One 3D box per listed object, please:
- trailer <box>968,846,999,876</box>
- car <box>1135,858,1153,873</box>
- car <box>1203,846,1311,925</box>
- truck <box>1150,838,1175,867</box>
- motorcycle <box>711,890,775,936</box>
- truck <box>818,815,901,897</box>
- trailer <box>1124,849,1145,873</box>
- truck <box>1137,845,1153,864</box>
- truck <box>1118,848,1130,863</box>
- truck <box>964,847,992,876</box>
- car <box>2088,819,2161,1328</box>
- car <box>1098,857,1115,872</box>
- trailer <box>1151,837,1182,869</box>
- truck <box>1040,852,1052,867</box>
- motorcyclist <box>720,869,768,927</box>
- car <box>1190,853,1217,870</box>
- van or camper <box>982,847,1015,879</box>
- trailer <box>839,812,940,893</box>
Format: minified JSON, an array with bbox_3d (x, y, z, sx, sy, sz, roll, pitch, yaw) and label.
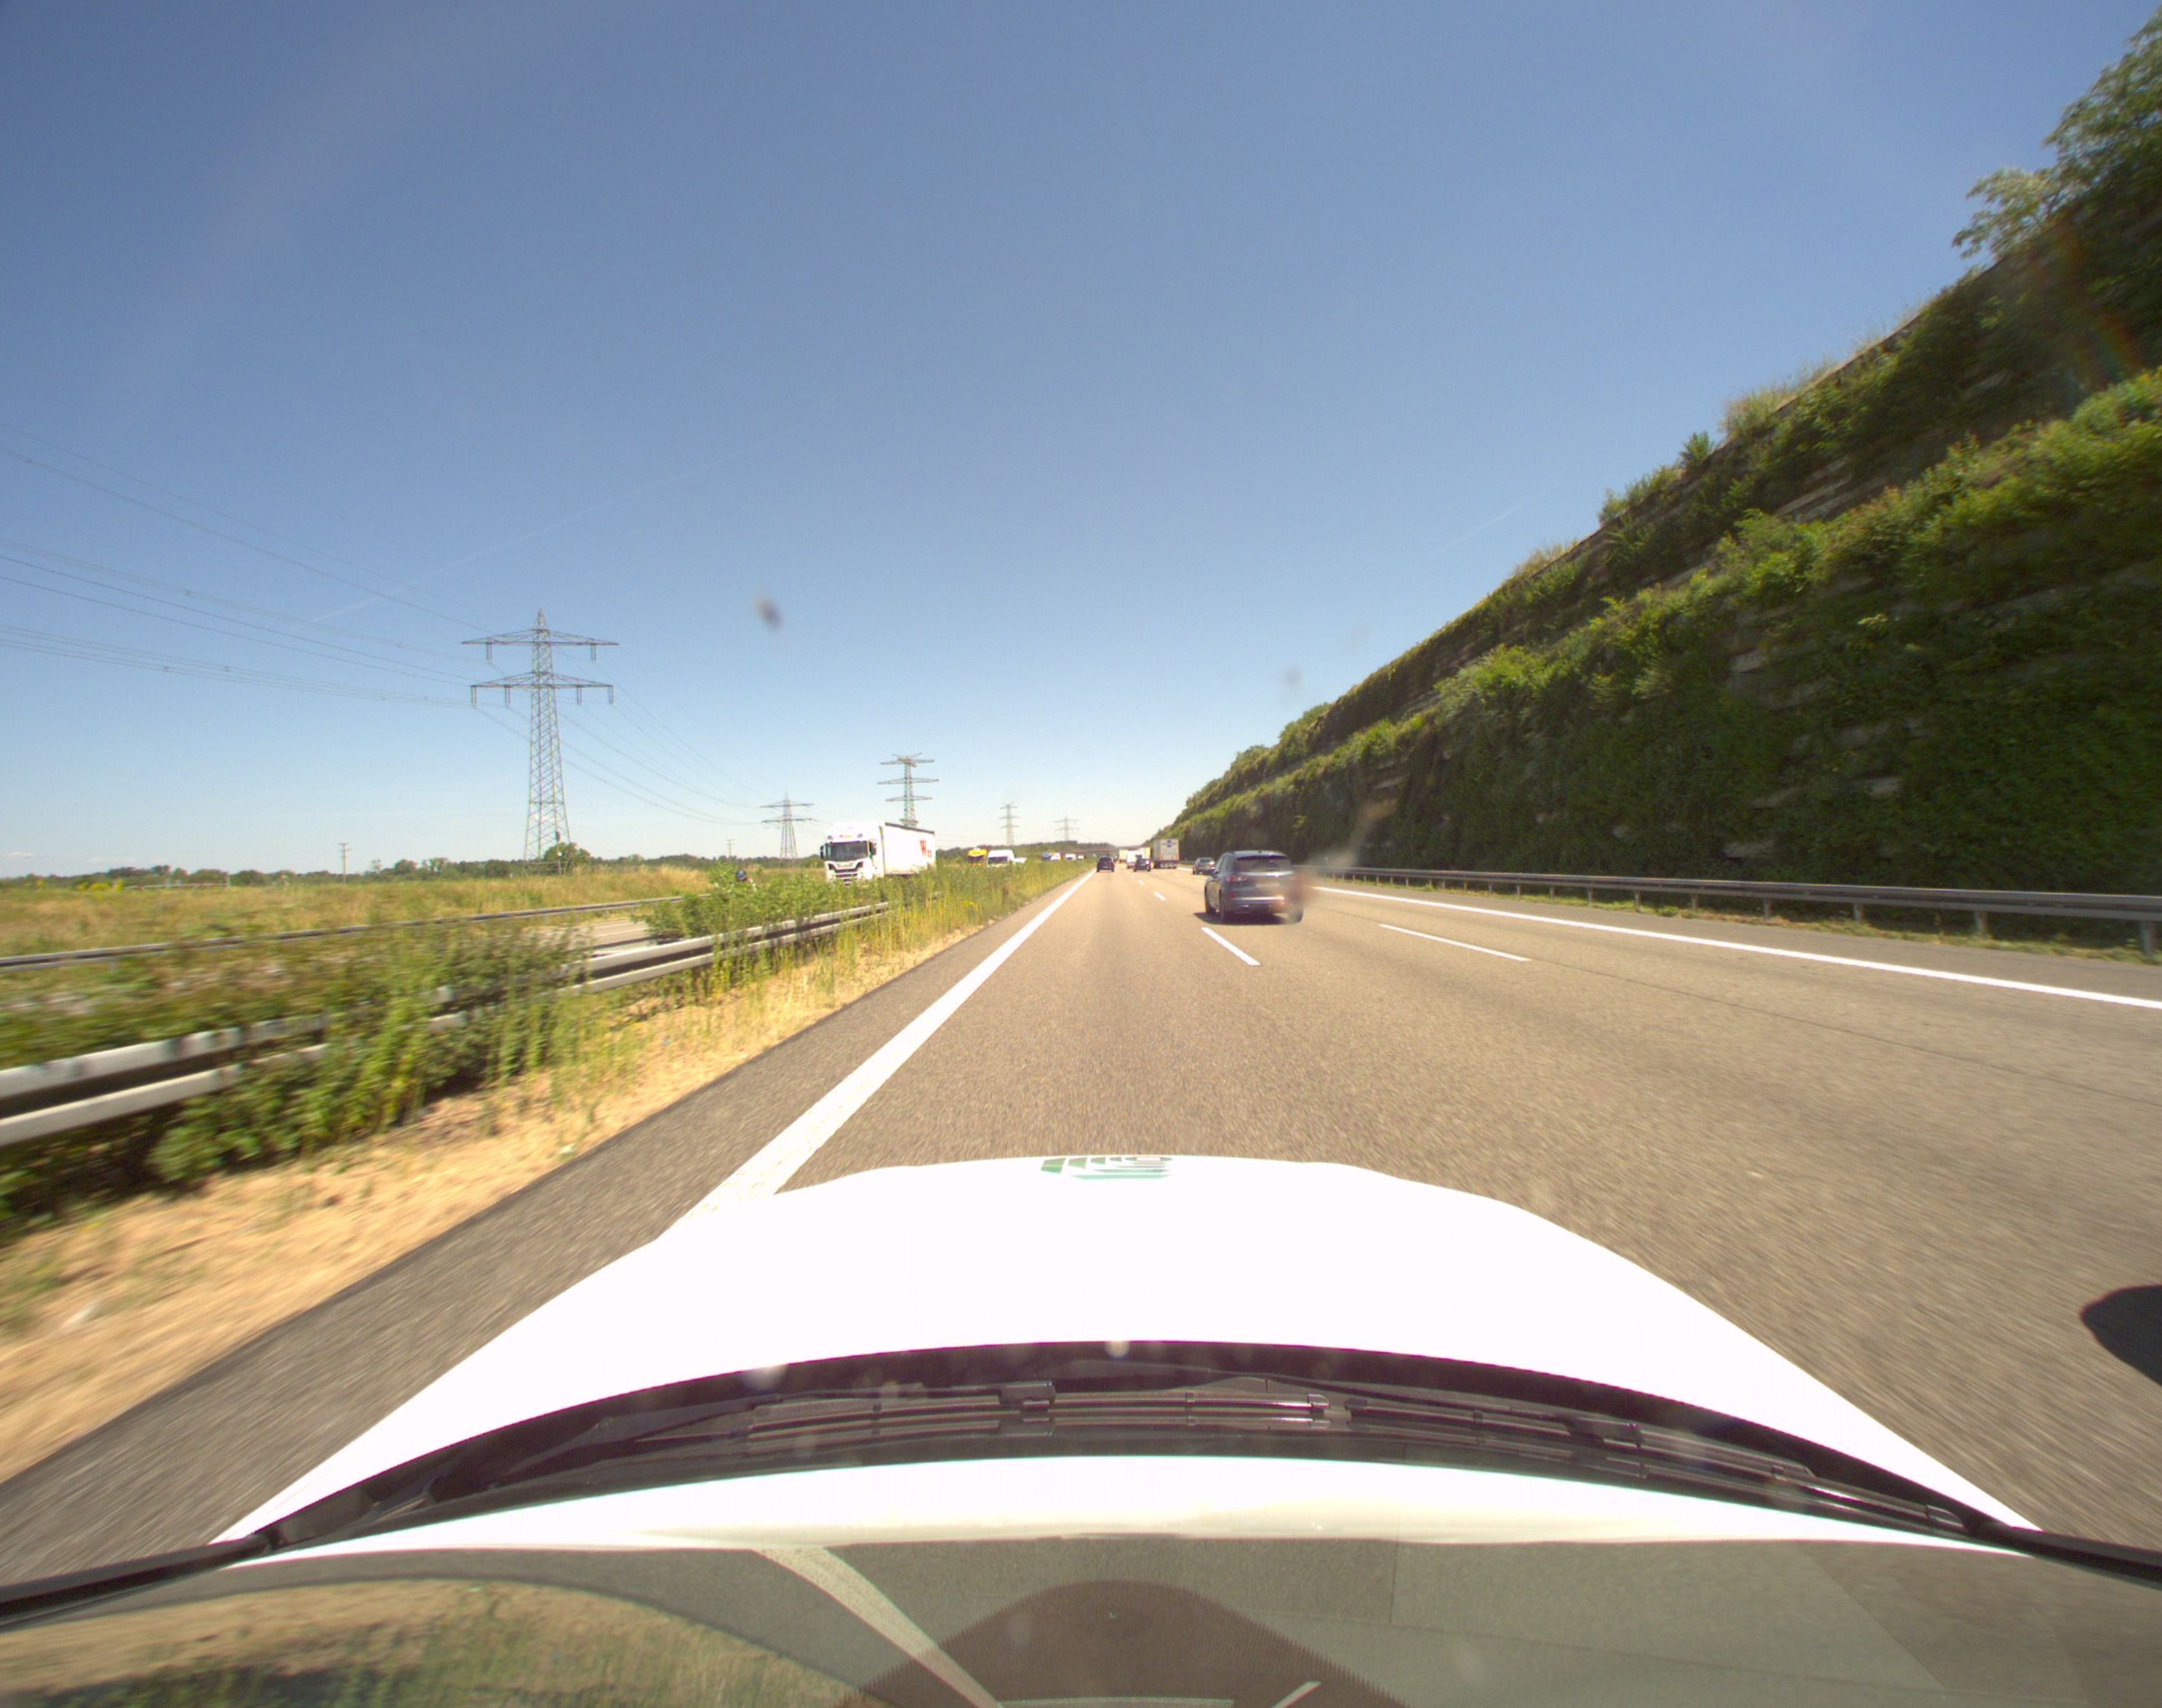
[{"bbox_3d":[-13.665,0.970,114.411,2.726,4.045,9.427,-3,0,2],"label":"trailer"},{"bbox_3d":[6.966,1.228,90.755,1.822,1.525,4.002,-2,0,2],"label":"car"},{"bbox_3d":[4.112,0.685,19.635,1.787,1.653,4.139,-1,0,2],"label":"car"},{"bbox_3d":[12.027,-0.175,120.709,3.124,4.142,5.506,-2,-1,2],"label":"truck"},{"bbox_3d":[-8.223,1.405,19.900,0.696,0.971,1.846,-3,0,2],"label":"motorcycle"},{"bbox_3d":[-11.939,0.119,44.341,2.795,4.158,5.572,-1,0,1],"label":"truck"},{"bbox_3d":[7.671,0.987,118.010,2.601,3.213,9.955,-2,0,1],"label":"trailer"},{"bbox_3d":[15.025,0.165,192.110,3.107,4.280,11.939,-2,0,2],"label":"truck"},{"bbox_3d":[12.767,0.533,242.817,3.396,4.280,10.612,-2,0,2],"label":"truck"},{"bbox_3d":[-13.836,1.040,109.742,2.715,3.727,5.648,-3,0,1],"label":"truck"},{"bbox_3d":[4.043,0.618,0.573,1.743,1.525,3.996,-2,0,1],"label":"car"},{"bbox_3d":[2.838,1.177,92.157,1.823,1.670,4.001,-2,0,1],"label":"car"},{"bbox_3d":[11.781,-0.108,113.665,3.171,4.121,13.437,-2,0,2],"label":"trailer"},{"bbox_3d":[-9.651,1.517,225.344,2.852,3.907,5.623,-2,0,2],"label":"truck"},{"bbox_3d":[-8.236,1.057,19.938,0.705,1.347,1.014,-3,-1,0],"label":"motorcyclist"},{"bbox_3d":[10.674,0.648,71.200,1.678,1.428,4.454,-1,0,1],"label":"car"},{"bbox_3d":[-6.918,0.744,69.118,1.986,2.582,6.286,-1,0,1],"label":"van or camper"},{"bbox_3d":[-11.726,-0.042,51.748,2.760,4.349,14.241,-1,0,1],"label":"trailer"}]
